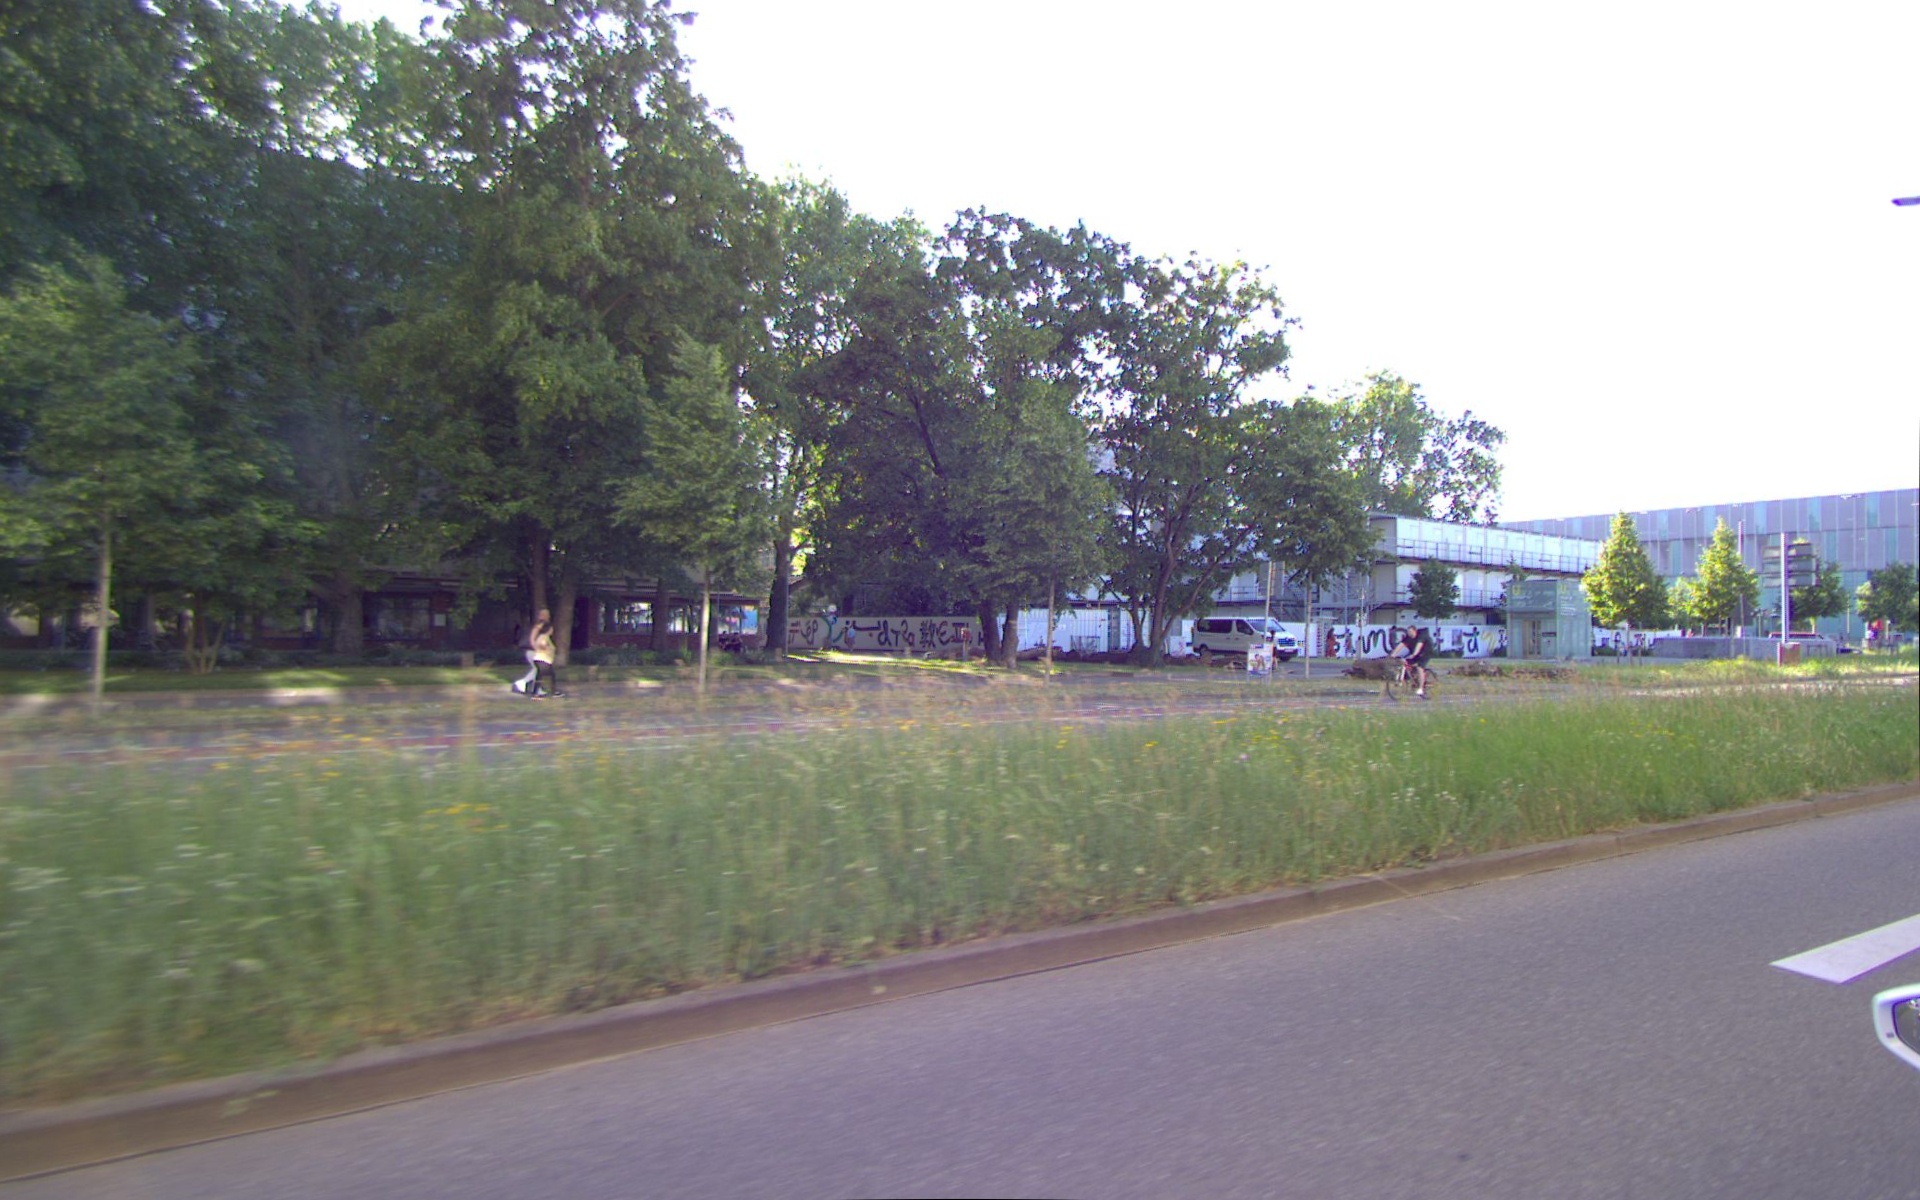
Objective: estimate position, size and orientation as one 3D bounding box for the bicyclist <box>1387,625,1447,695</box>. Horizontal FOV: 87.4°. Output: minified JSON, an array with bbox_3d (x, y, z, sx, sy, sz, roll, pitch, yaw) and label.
[{"bbox_3d":[10.859,1.433,23.865,1.188,1.611,0.743,3,-3,-30],"label":"bicyclist"}]

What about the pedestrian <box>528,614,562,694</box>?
[{"bbox_3d":[-9.270,1.192,22.415,0.646,1.763,0.522,1,-1,-26],"label":"pedestrian"}]

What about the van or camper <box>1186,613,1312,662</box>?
[{"bbox_3d":[13.041,1.721,45.805,2.230,2.040,5.641,3,-3,-28],"label":"van or camper"}]

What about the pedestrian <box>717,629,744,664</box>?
[{"bbox_3d":[-10.278,2.075,45.017,0.886,1.560,0.895,2,-2,-37],"label":"pedestrian"}]

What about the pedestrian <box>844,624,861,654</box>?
[{"bbox_3d":[-6.173,2.238,57.707,0.734,1.662,0.722,1,-1,-24],"label":"pedestrian"}]

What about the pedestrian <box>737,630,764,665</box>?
[{"bbox_3d":[-9.488,2.130,45.566,0.886,1.560,0.895,2,-2,-37],"label":"pedestrian"}]

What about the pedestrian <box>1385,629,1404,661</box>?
[{"bbox_3d":[23.480,2.405,54.310,0.826,1.711,0.576,1,-1,-32],"label":"pedestrian"}]

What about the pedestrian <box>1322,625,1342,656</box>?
[{"bbox_3d":[18.902,2.058,51.094,0.826,1.578,0.576,1,-1,-32],"label":"pedestrian"}]

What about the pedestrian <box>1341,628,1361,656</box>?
[{"bbox_3d":[19.707,2.123,50.585,0.826,1.396,0.576,1,-1,-32],"label":"pedestrian"}]

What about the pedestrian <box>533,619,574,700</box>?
[{"bbox_3d":[-8.569,1.247,21.168,0.717,1.662,0.740,1,-1,-26],"label":"pedestrian"}]

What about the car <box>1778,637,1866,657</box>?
[{"bbox_3d":[63.367,3.463,73.902,1.855,1.392,4.606,4,-4,-37],"label":"car"}]

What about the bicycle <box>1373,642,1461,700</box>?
[{"bbox_3d":[10.867,1.691,23.868,2.232,1.291,0.754,4,-3,-30],"label":"bicycle"}]

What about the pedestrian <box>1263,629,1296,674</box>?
[{"bbox_3d":[11.281,1.802,35.448,0.929,1.548,0.611,1,-1,-25],"label":"pedestrian"}]

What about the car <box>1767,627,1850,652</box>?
[{"bbox_3d":[65.701,3.019,77.842,1.855,1.834,4.606,4,-4,-37],"label":"car"}]

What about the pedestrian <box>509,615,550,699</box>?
[{"bbox_3d":[-9.286,1.209,21.652,0.751,1.763,0.769,1,-1,-26],"label":"pedestrian"}]
